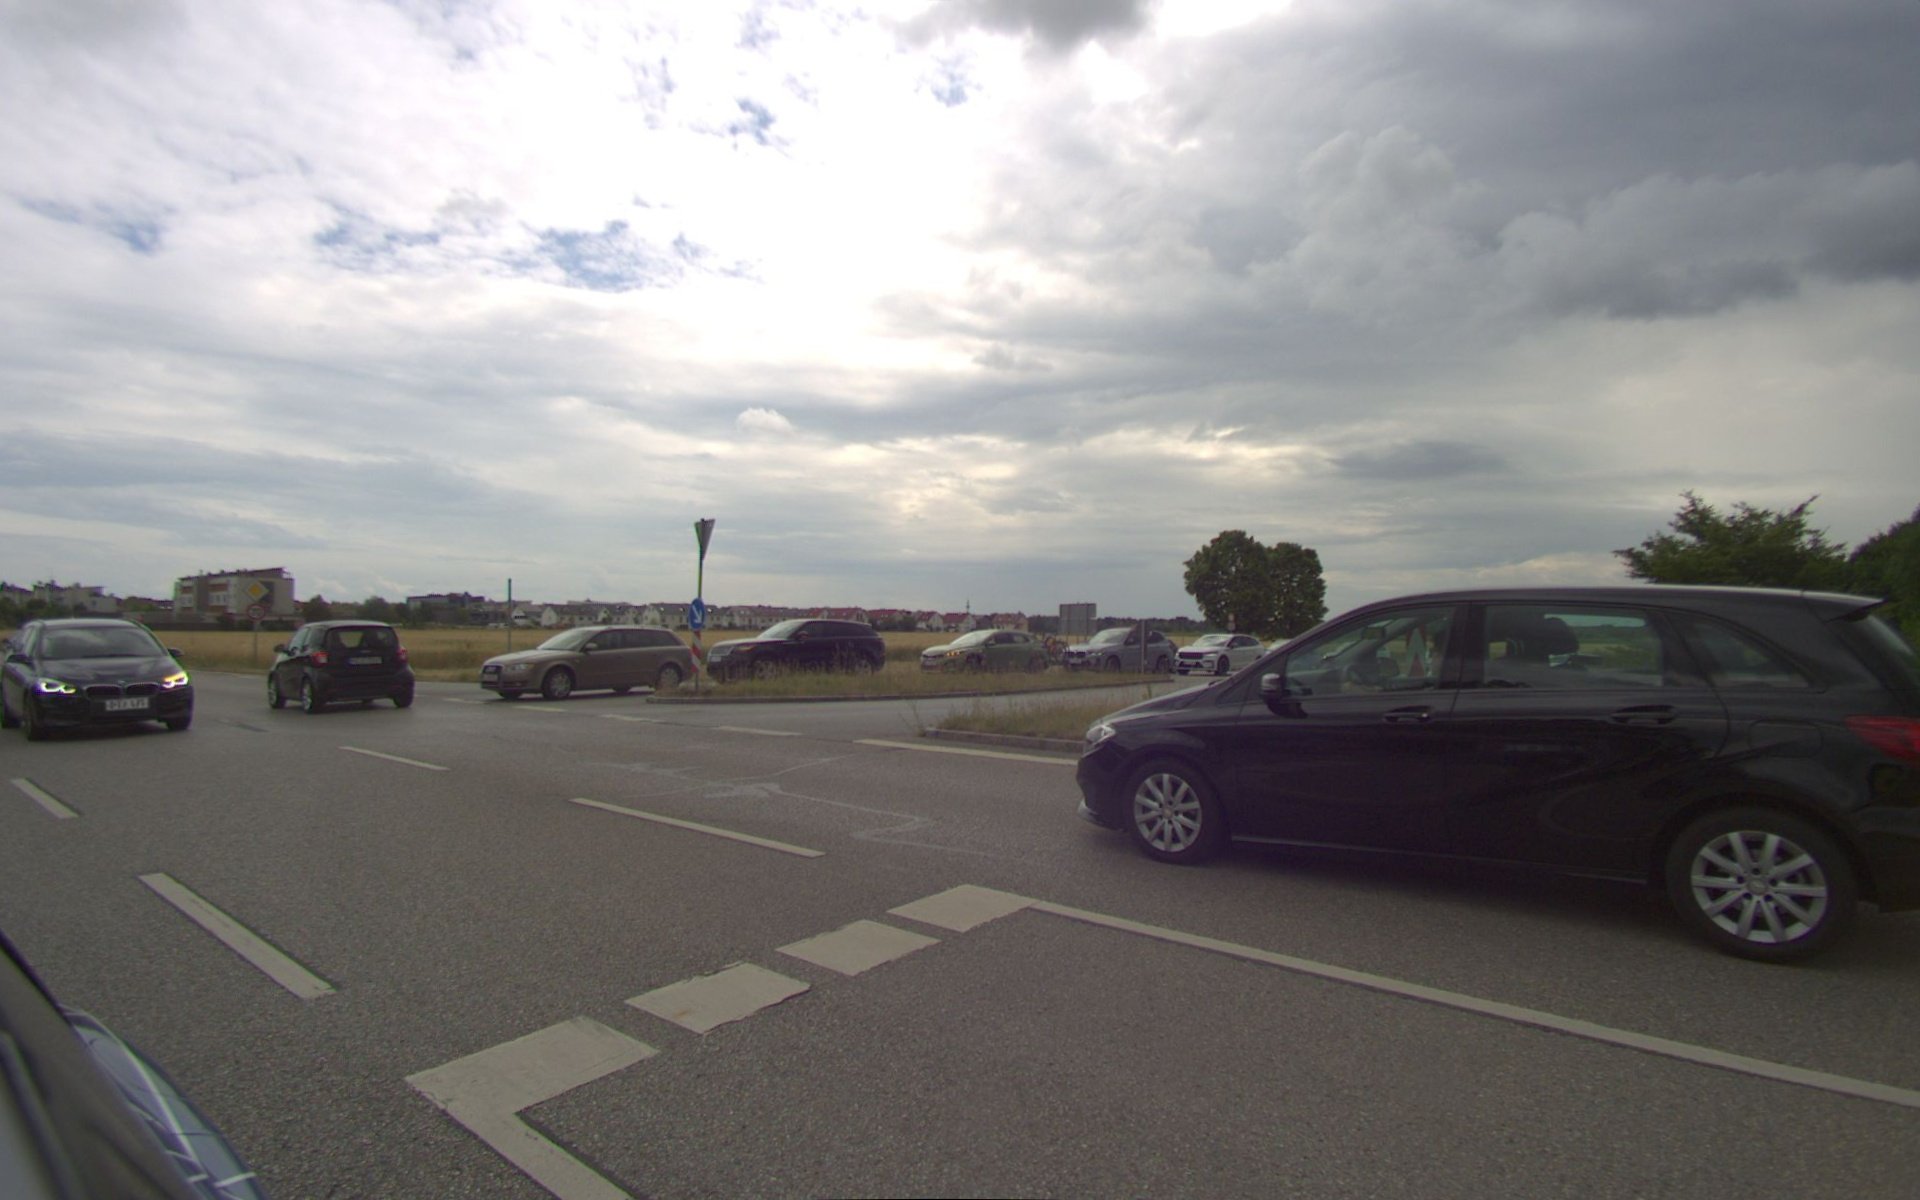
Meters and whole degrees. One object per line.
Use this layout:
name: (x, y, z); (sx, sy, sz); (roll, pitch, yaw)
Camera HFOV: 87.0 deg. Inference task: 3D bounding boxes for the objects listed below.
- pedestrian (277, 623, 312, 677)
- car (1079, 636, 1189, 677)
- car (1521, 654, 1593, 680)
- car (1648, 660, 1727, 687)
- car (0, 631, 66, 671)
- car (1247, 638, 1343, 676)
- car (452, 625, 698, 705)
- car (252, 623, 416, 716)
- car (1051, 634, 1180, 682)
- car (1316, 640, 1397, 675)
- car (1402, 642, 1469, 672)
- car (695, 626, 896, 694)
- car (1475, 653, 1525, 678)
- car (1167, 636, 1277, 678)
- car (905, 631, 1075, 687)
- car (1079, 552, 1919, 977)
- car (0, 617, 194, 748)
pedestrian: (-20.330, 1.531, 30.920); (0.865, 1.617, 0.587); (-2, -5, 39)
car: (6.753, 2.127, 39.110); (4.344, 1.493, 1.913); (2, -3, -42)
car: (38.144, 4.249, 64.604); (4.428, 1.493, 1.917); (1, -2, -28)
car: (50.082, 5.048, 69.732); (4.431, 1.694, 1.916); (0, -2, -13)
car: (-37.850, 2.037, 41.208); (4.394, 1.533, 1.661); (-2, -1, 42)
car: (14.153, 2.379, 42.646); (4.436, 1.493, 1.913); (2, -3, -42)
car: (-7.672, 1.253, 20.602); (1.906, 1.435, 4.414); (-1, -2, 34)
car: (-11.258, 1.186, 18.141); (3.167, 1.495, 1.644); (-2, -1, 41)
car: (5.329, 1.920, 34.349); (4.567, 1.528, 1.913); (2, -3, -42)
car: (18.476, 2.628, 47.045); (1.912, 1.493, 4.440); (-2, -3, 45)
car: (25.677, 3.053, 54.578); (1.912, 1.493, 4.440); (-2, -3, 45)
car: (-4.019, 1.439, 25.262); (4.682, 1.543, 1.913); (2, -3, -42)
car: (39.177, 4.708, 73.397); (4.438, 1.694, 1.913); (2, -3, -44)
car: (9.968, 2.108, 38.376); (4.436, 1.493, 1.913); (2, -3, -42)
car: (0.989, 1.697, 30.253); (5.221, 1.533, 1.913); (2, -3, -42)
car: (2.864, 0.640, 5.373); (4.196, 1.542, 1.724); (-2, -2, 41)
car: (-12.892, 1.109, 14.906); (4.480, 1.623, 1.685); (-2, -1, 41)
